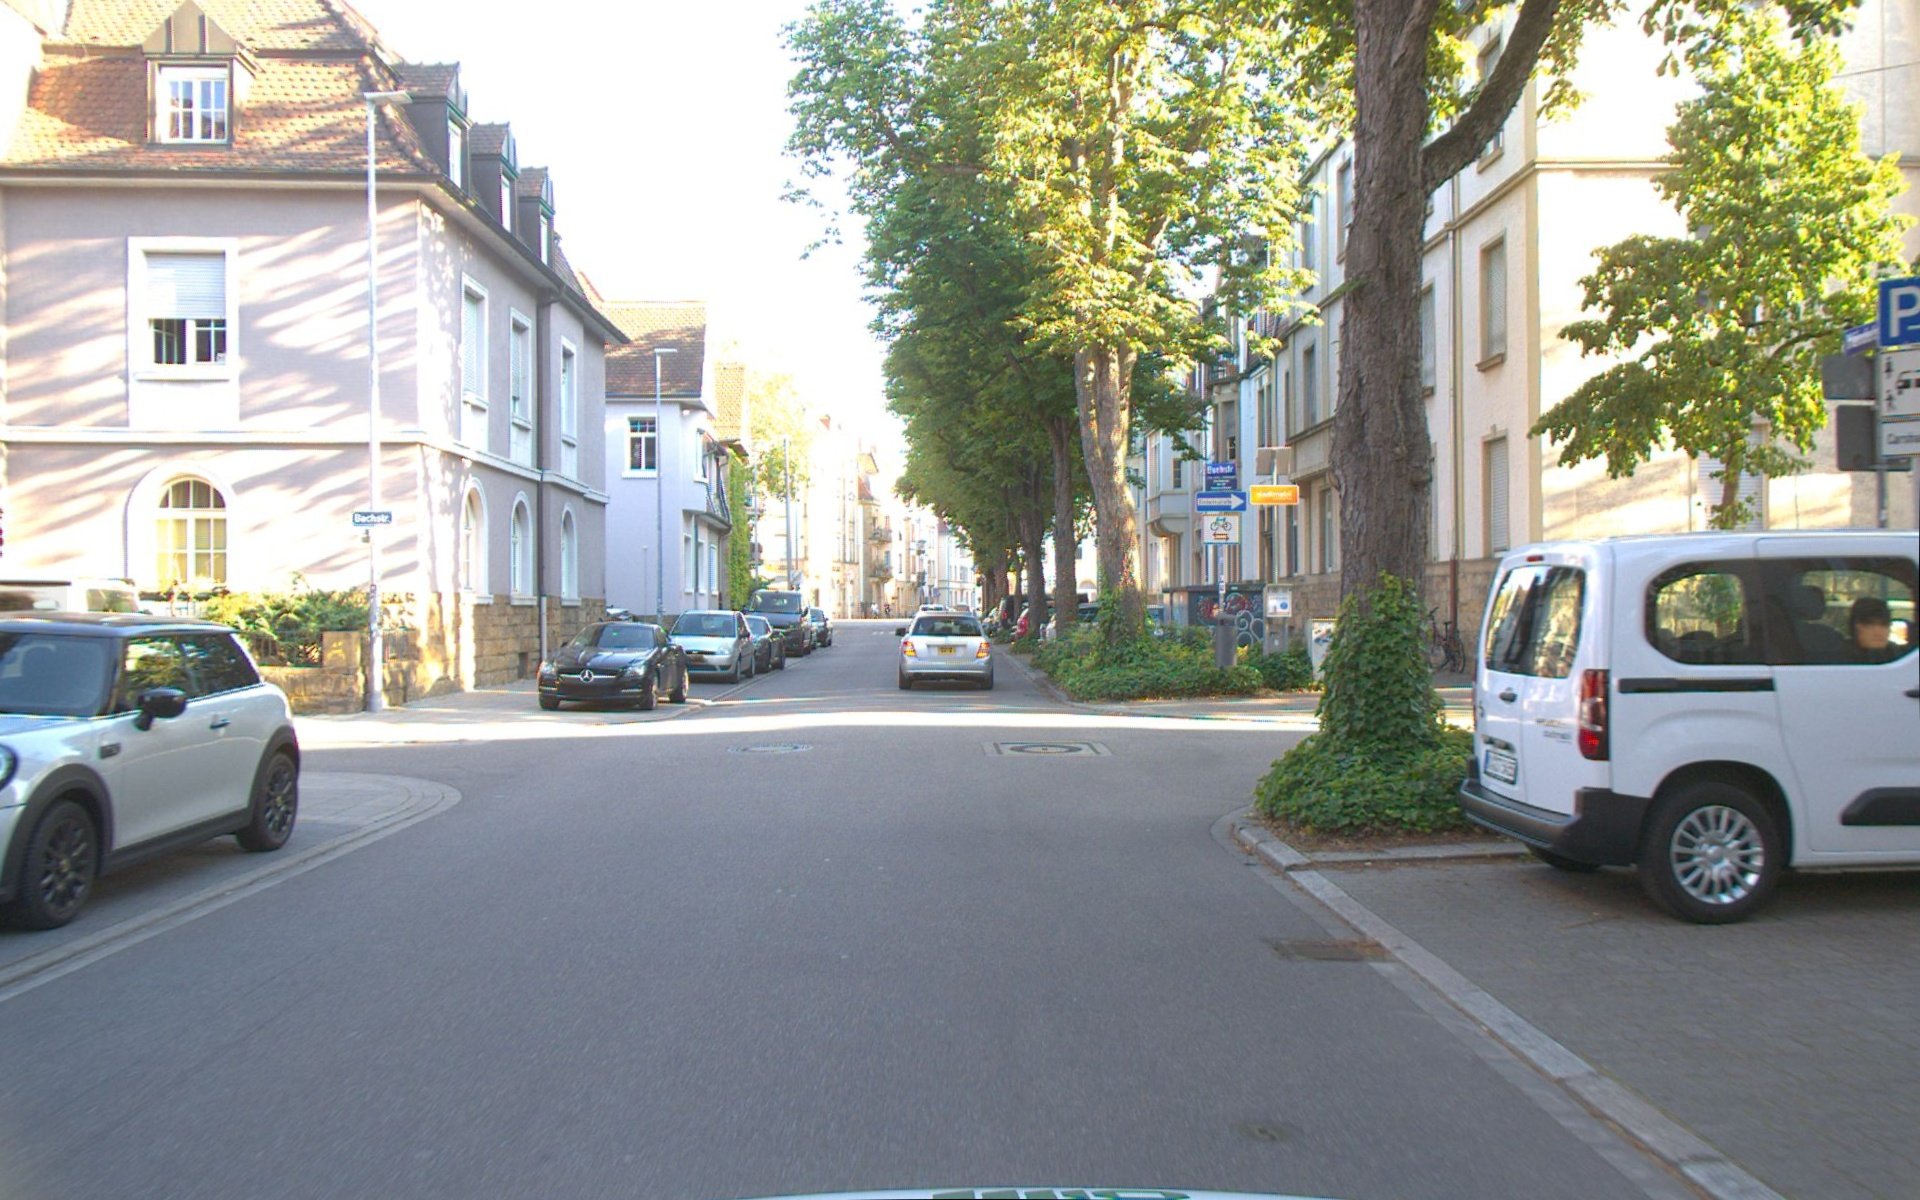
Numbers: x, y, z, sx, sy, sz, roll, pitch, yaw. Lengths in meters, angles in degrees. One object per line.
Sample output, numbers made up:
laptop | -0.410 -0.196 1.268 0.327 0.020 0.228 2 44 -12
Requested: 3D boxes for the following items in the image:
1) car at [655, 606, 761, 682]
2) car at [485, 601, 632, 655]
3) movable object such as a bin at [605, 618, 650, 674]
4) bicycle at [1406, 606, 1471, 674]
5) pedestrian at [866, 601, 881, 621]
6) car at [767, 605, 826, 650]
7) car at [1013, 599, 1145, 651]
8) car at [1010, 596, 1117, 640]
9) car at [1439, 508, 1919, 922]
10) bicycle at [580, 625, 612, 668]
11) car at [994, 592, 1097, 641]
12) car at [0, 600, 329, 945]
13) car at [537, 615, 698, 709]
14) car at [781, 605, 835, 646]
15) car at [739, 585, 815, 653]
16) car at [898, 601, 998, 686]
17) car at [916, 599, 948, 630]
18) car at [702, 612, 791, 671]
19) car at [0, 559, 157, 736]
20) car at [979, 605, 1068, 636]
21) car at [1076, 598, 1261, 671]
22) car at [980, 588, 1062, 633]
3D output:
car | -5.259 0.891 34.971 1.620 1.471 3.959 1 0 0
car | -11.258 0.776 46.518 3.788 1.469 1.633 0 0 -5
movable object such as a bin | -8.100 1.105 40.363 0.707 1.306 2.096 0 0 -1
bicycle | 8.929 0.729 30.932 0.573 1.233 1.956 0 0 -3
pedestrian | -7.976 1.028 152.641 1.195 1.752 1.503 1 0 2
car | -5.655 0.927 57.595 1.620 1.472 4.236 2 0 -1
car | 3.778 0.783 53.092 4.103 1.501 1.852 -2 -1 1
car | 4.046 0.714 64.995 4.027 1.599 1.876 -2 -1 -1
car | 4.918 0.482 8.595 4.227 1.839 1.999 -2 0 -2
bicycle | -8.401 1.067 38.207 0.386 0.953 1.722 0 0 -1
car | 3.575 0.685 69.685 4.135 1.929 1.904 -1 0 -3
car | -5.027 0.757 8.947 1.669 1.486 3.917 1 0 0
car | -5.370 0.936 26.383 1.619 1.347 4.046 1 -1 1
car | -5.739 0.947 62.885 1.660 1.472 4.357 1 0 -1
car | -5.659 0.561 51.740 1.942 1.982 4.849 1 0 -2
car | -0.223 0.798 31.207 1.747 1.462 3.850 1 -1 0
car | -1.439 0.727 86.305 1.590 1.597 3.680 0 0 0
car | -5.151 0.974 40.301 1.499 1.342 4.227 1 -1 2
car | -12.428 0.605 20.099 4.313 2.049 1.998 0 -3 -4
car | 3.113 0.996 81.859 4.203 1.442 1.876 -1 0 -3
car | 4.514 0.738 36.136 3.719 1.463 1.747 -1 0 -6
car | 3.295 0.585 89.784 4.301 2.405 1.999 0 0 -3
